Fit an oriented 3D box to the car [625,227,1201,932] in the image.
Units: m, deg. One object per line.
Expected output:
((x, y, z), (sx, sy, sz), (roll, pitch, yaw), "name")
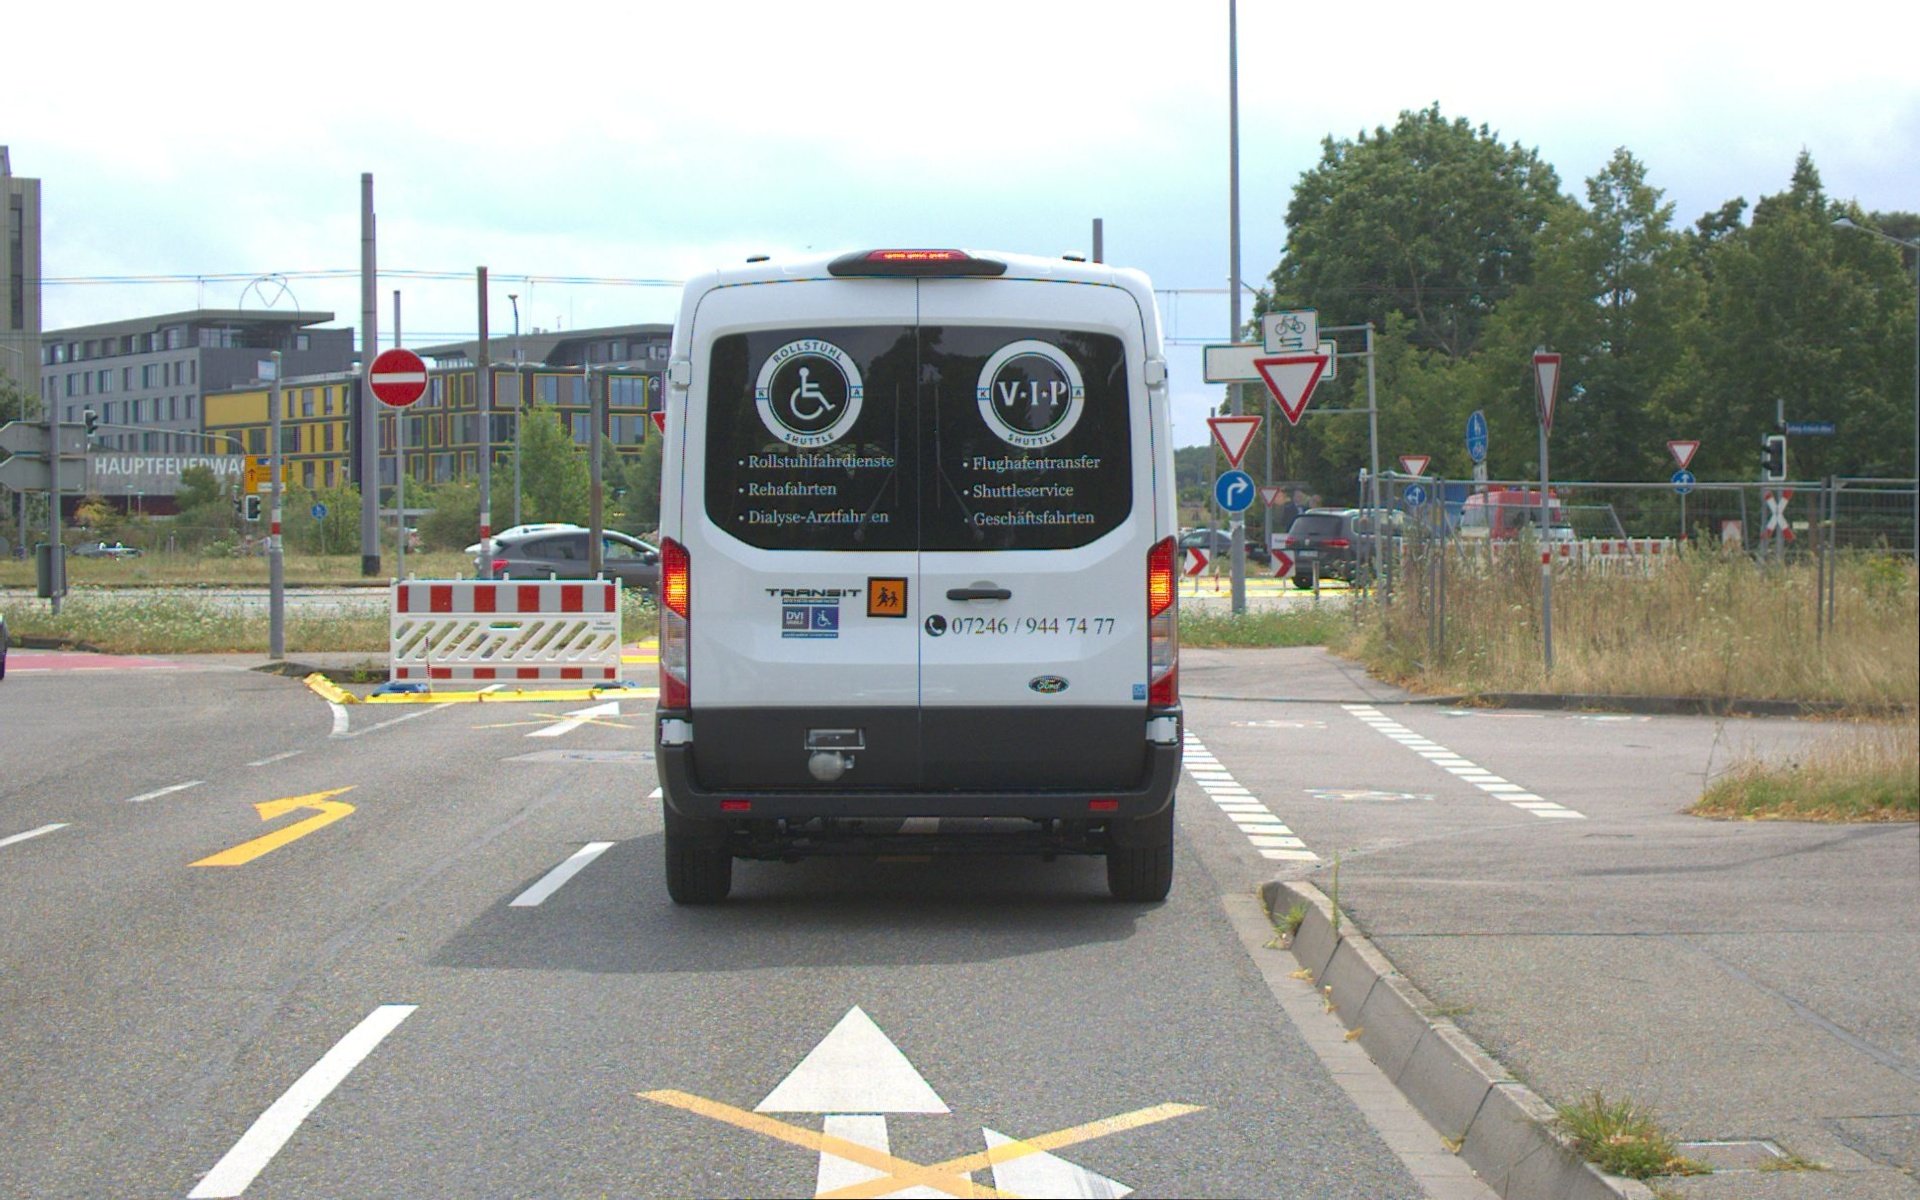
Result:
((-0.196, -0.119, 14.408), (2.062, 2.531, 4.000), (0, 1, -1), "car")

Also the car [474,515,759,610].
((-5.506, -0.613, 55.026), (4.340, 1.349, 1.623), (-2, 2, -12), "car")

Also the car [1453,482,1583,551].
((15.401, -2.312, 95.125), (2.006, 1.810, 4.413), (-2, 2, -12), "car")

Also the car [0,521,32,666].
((-11.184, -0.100, 36.487), (1.771, 1.473, 4.258), (-1, 1, -26), "car")
